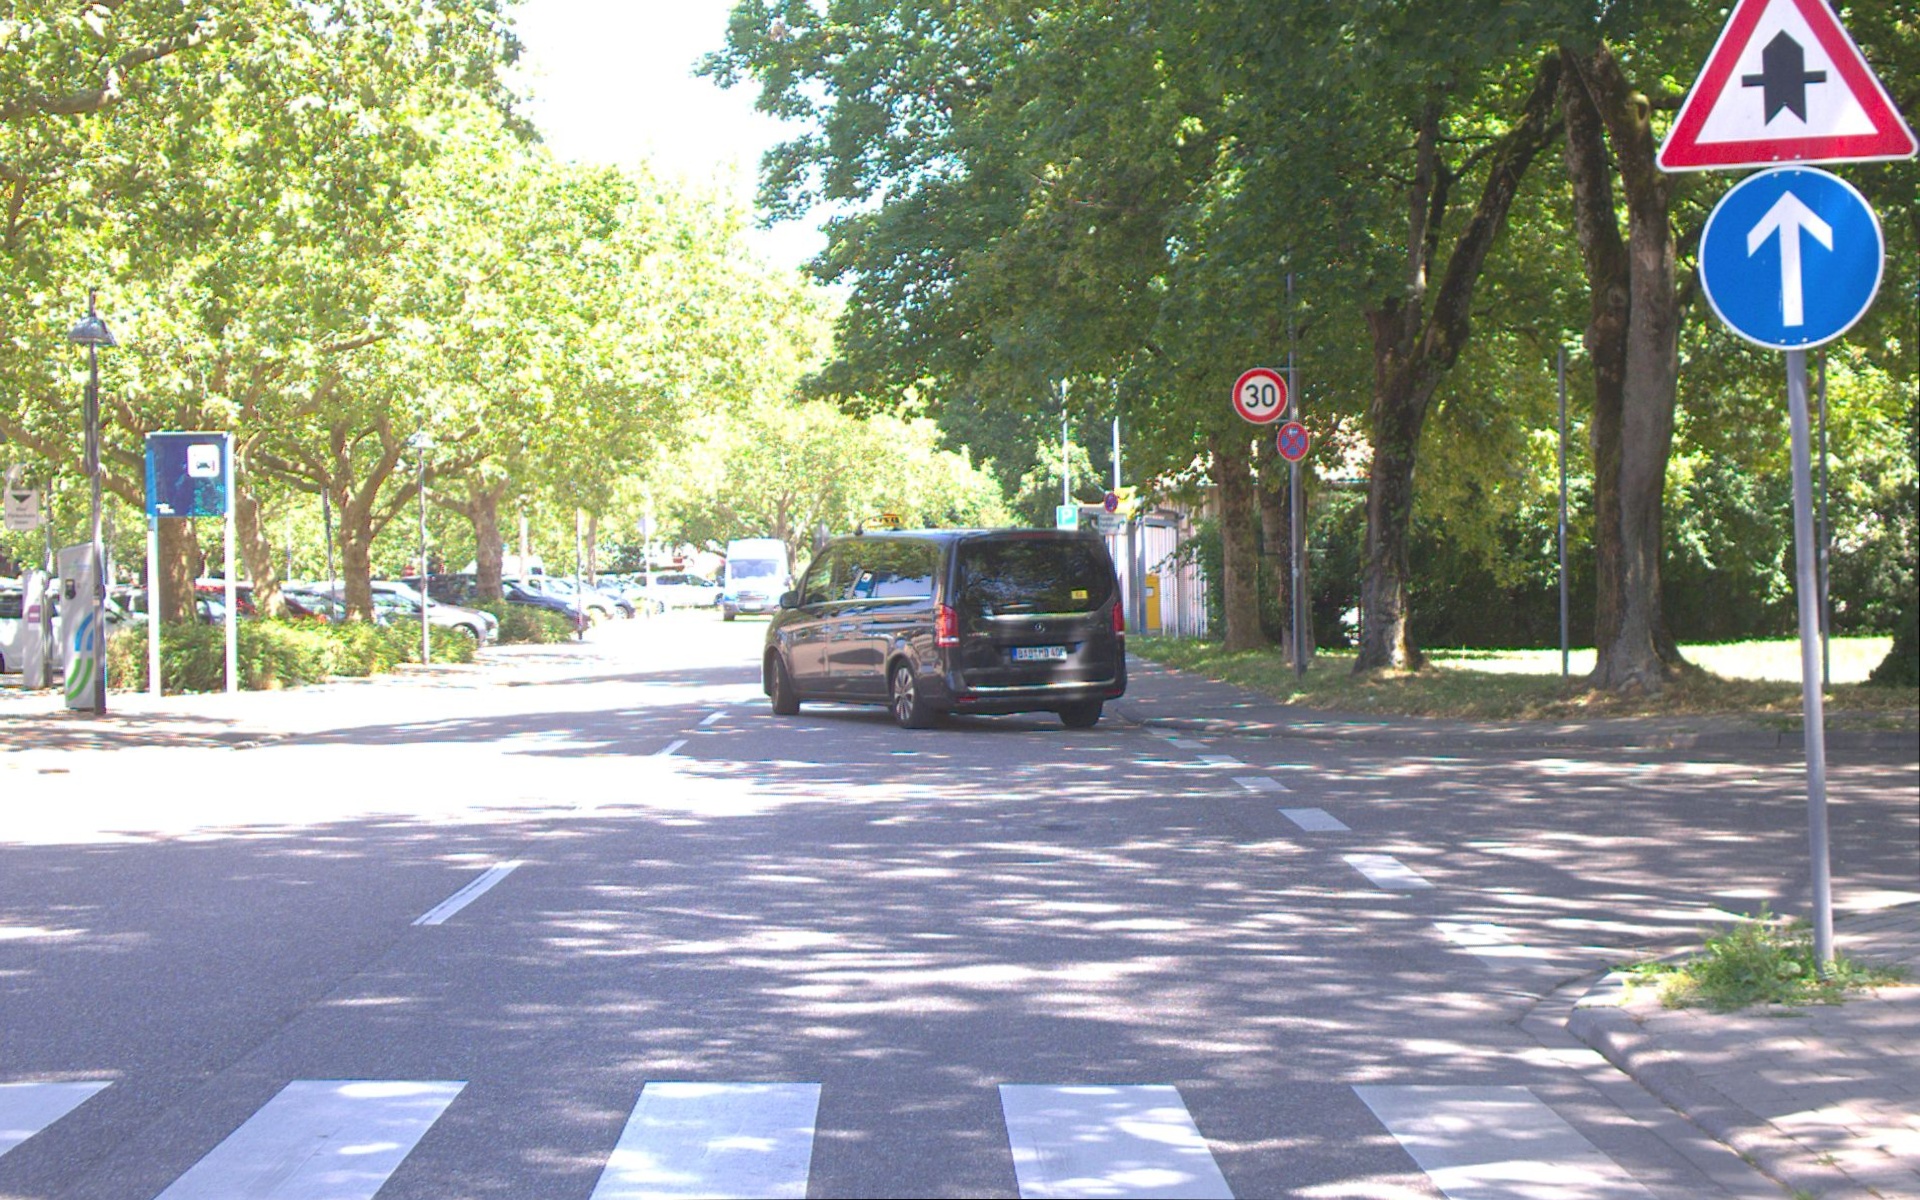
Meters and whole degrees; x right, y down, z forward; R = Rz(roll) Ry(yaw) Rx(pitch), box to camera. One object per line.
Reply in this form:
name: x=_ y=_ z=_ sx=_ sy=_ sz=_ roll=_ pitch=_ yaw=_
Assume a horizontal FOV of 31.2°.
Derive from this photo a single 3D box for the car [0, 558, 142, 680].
car: x=-14.439 y=0.299 z=51.702 sx=3.986 sy=1.775 sz=2.000 roll=-1 pitch=-1 yaw=-18
